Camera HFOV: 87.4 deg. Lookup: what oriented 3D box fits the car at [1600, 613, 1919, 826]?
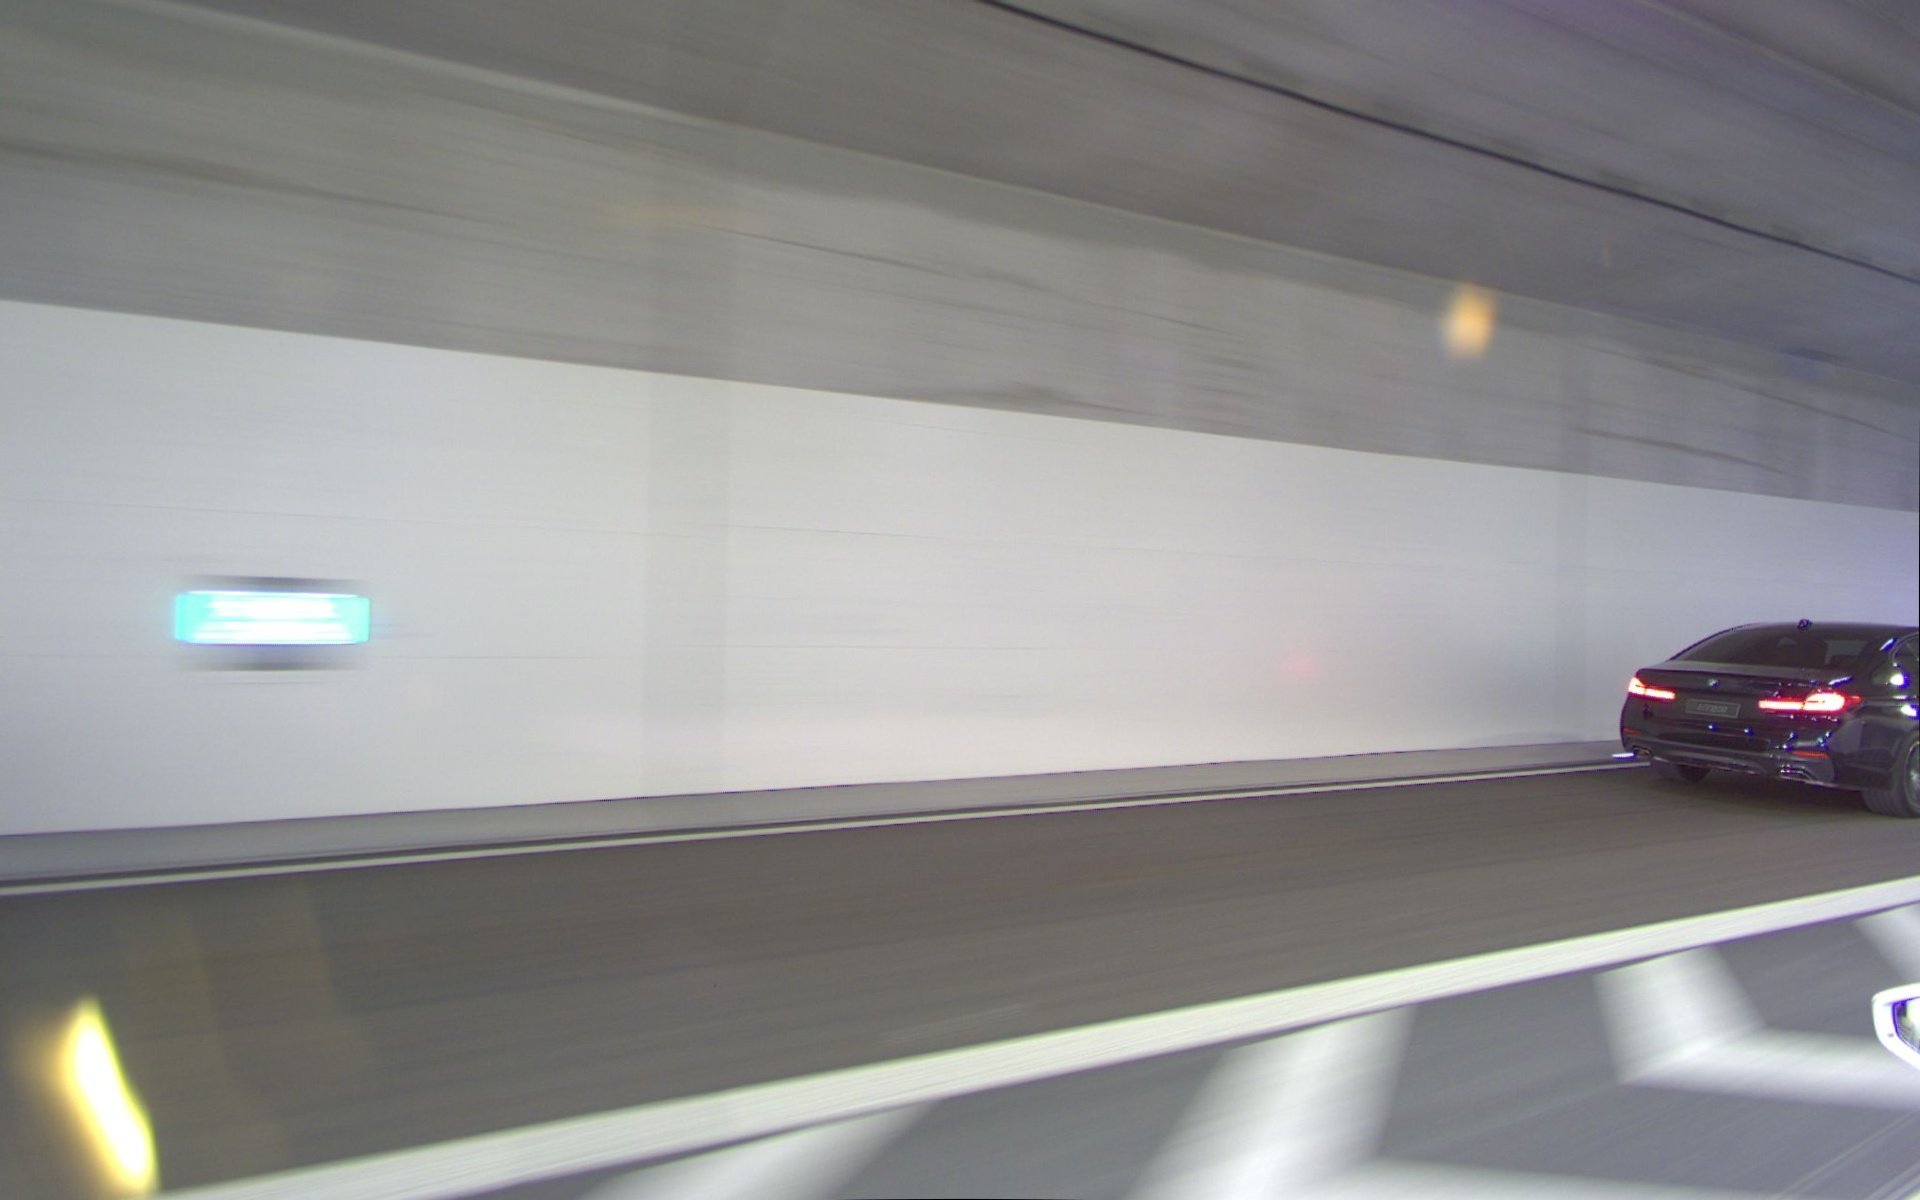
[{"bbox_3d":[8.050,0.895,8.874,4.784,1.442,1.691,1,1,-25],"label":"car"}]
